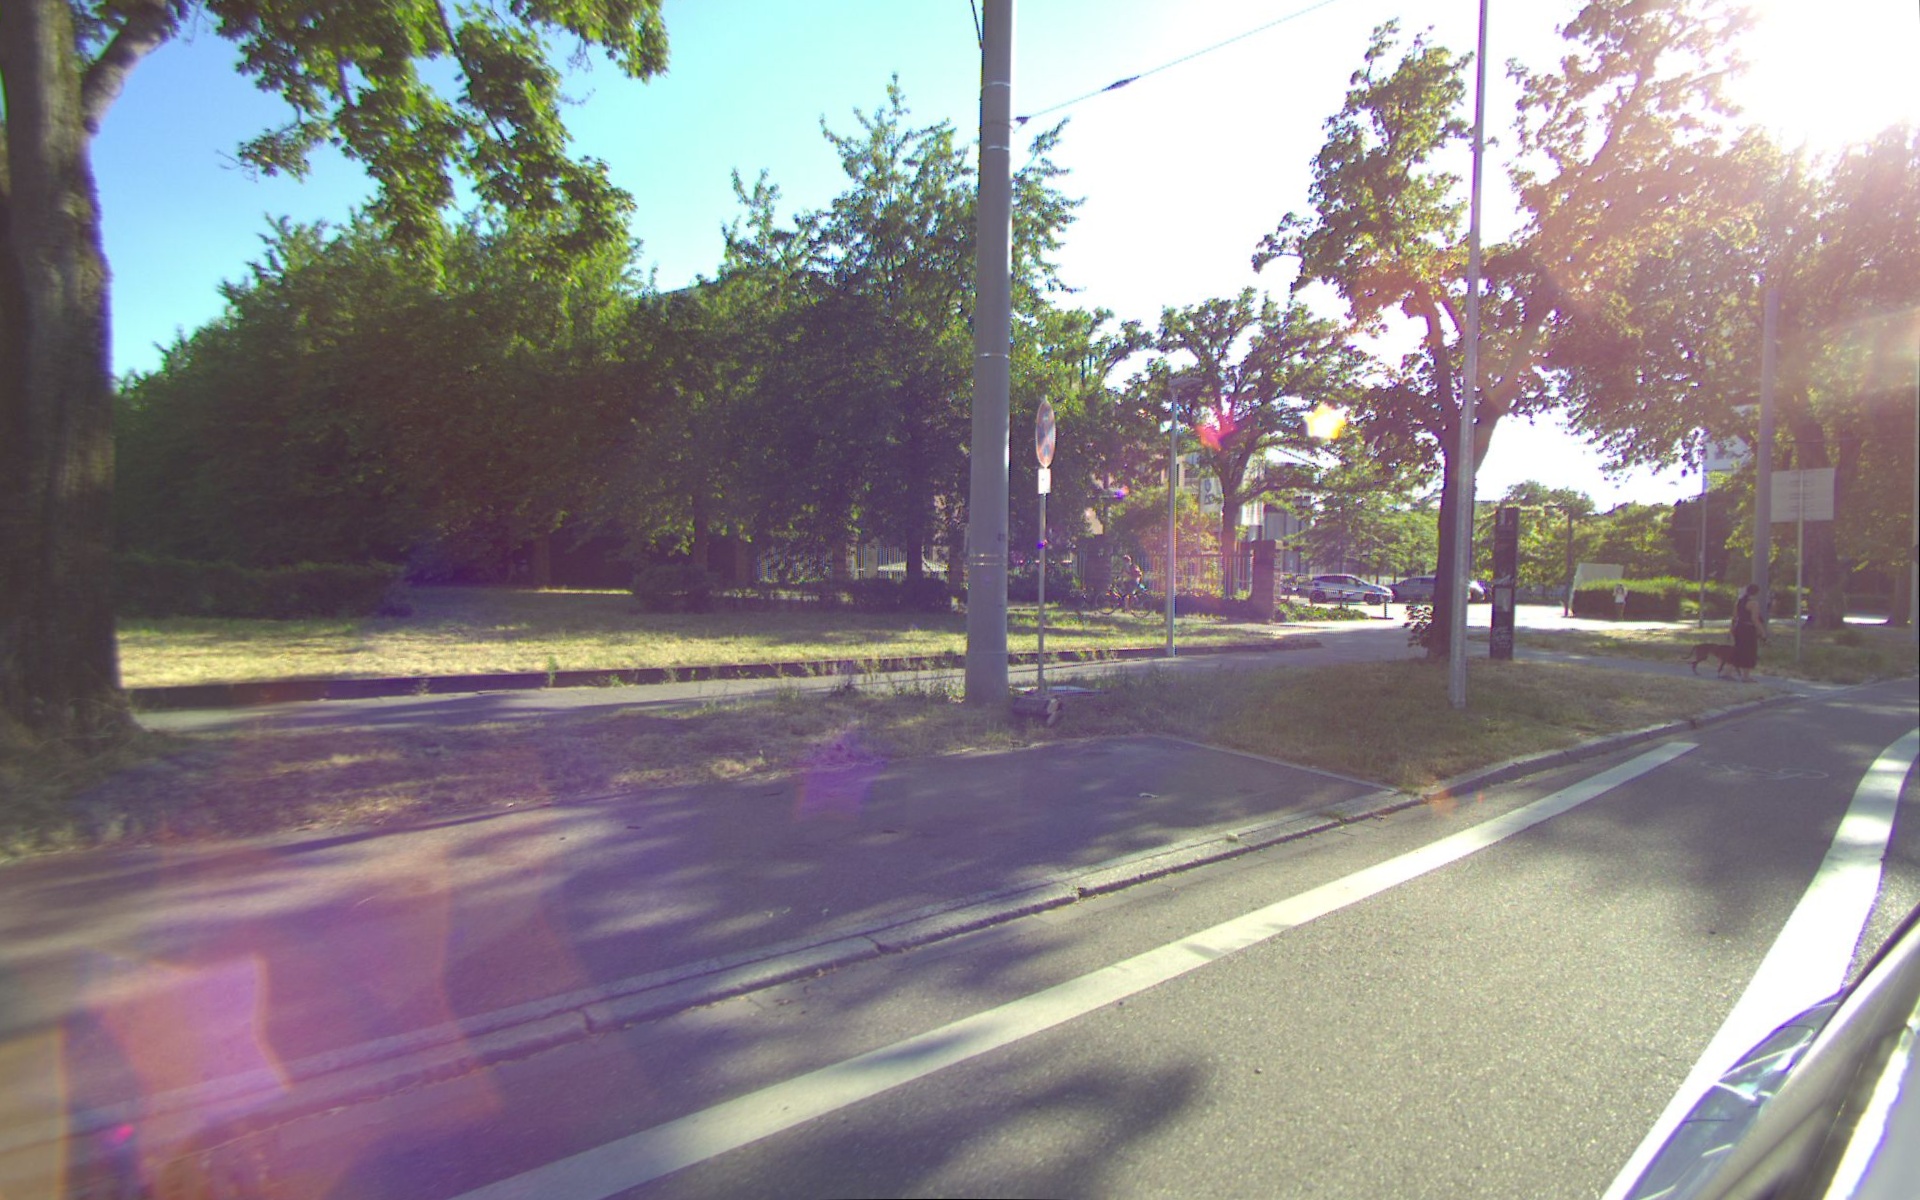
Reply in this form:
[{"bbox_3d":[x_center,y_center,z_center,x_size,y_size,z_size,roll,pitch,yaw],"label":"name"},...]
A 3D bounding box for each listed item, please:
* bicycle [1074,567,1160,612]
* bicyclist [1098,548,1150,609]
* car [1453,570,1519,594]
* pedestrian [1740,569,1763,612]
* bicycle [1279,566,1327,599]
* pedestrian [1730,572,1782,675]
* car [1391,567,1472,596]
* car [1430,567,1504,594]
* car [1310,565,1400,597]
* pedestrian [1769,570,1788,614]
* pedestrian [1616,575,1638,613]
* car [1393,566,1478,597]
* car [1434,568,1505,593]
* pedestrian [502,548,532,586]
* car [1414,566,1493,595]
[{"bbox_3d":[4.291,-0.299,27.757,2.278,1.069,0.611,5,3,37],"label":"bicycle"},{"bbox_3d":[4.470,-0.597,27.619,1.200,1.558,0.611,5,3,36],"label":"bicyclist"},{"bbox_3d":[40.185,-1.386,77.364,4.351,1.645,1.782,3,2,30],"label":"car"},{"bbox_3d":[34.554,-0.408,44.200,0.555,1.864,0.645,0,2,-41],"label":"pedestrian"},{"bbox_3d":[14.973,-0.766,44.115,2.591,1.407,0.746,0,2,-41],"label":"bicycle"},{"bbox_3d":[13.543,0.385,17.228,0.527,1.683,0.483,4,3,28],"label":"pedestrian"},{"bbox_3d":[28.776,-1.157,61.806,4.351,1.645,1.782,3,2,30],"label":"car"},{"bbox_3d":[34.233,-1.325,68.373,4.351,1.645,1.782,3,2,30],"label":"car"},{"bbox_3d":[20.773,-1.033,53.287,4.120,1.529,1.779,3,2,33],"label":"car"},{"bbox_3d":[35.200,-0.359,43.536,0.555,1.864,0.502,0,2,-41],"label":"pedestrian"},{"bbox_3d":[25.887,-0.234,39.267,0.504,1.460,0.549,0,2,-41],"label":"pedestrian"},{"bbox_3d":[27.643,-1.104,58.872,4.351,1.645,1.782,3,2,30],"label":"car"},{"bbox_3d":[35.577,-1.375,70.698,4.351,1.645,1.782,3,2,30],"label":"car"},{"bbox_3d":[-20.971,-1.570,47.928,0.823,1.778,1.013,-1,0,41],"label":"pedestrian"},{"bbox_3d":[30.963,-1.235,63.482,4.351,1.645,1.782,3,2,30],"label":"car"}]
